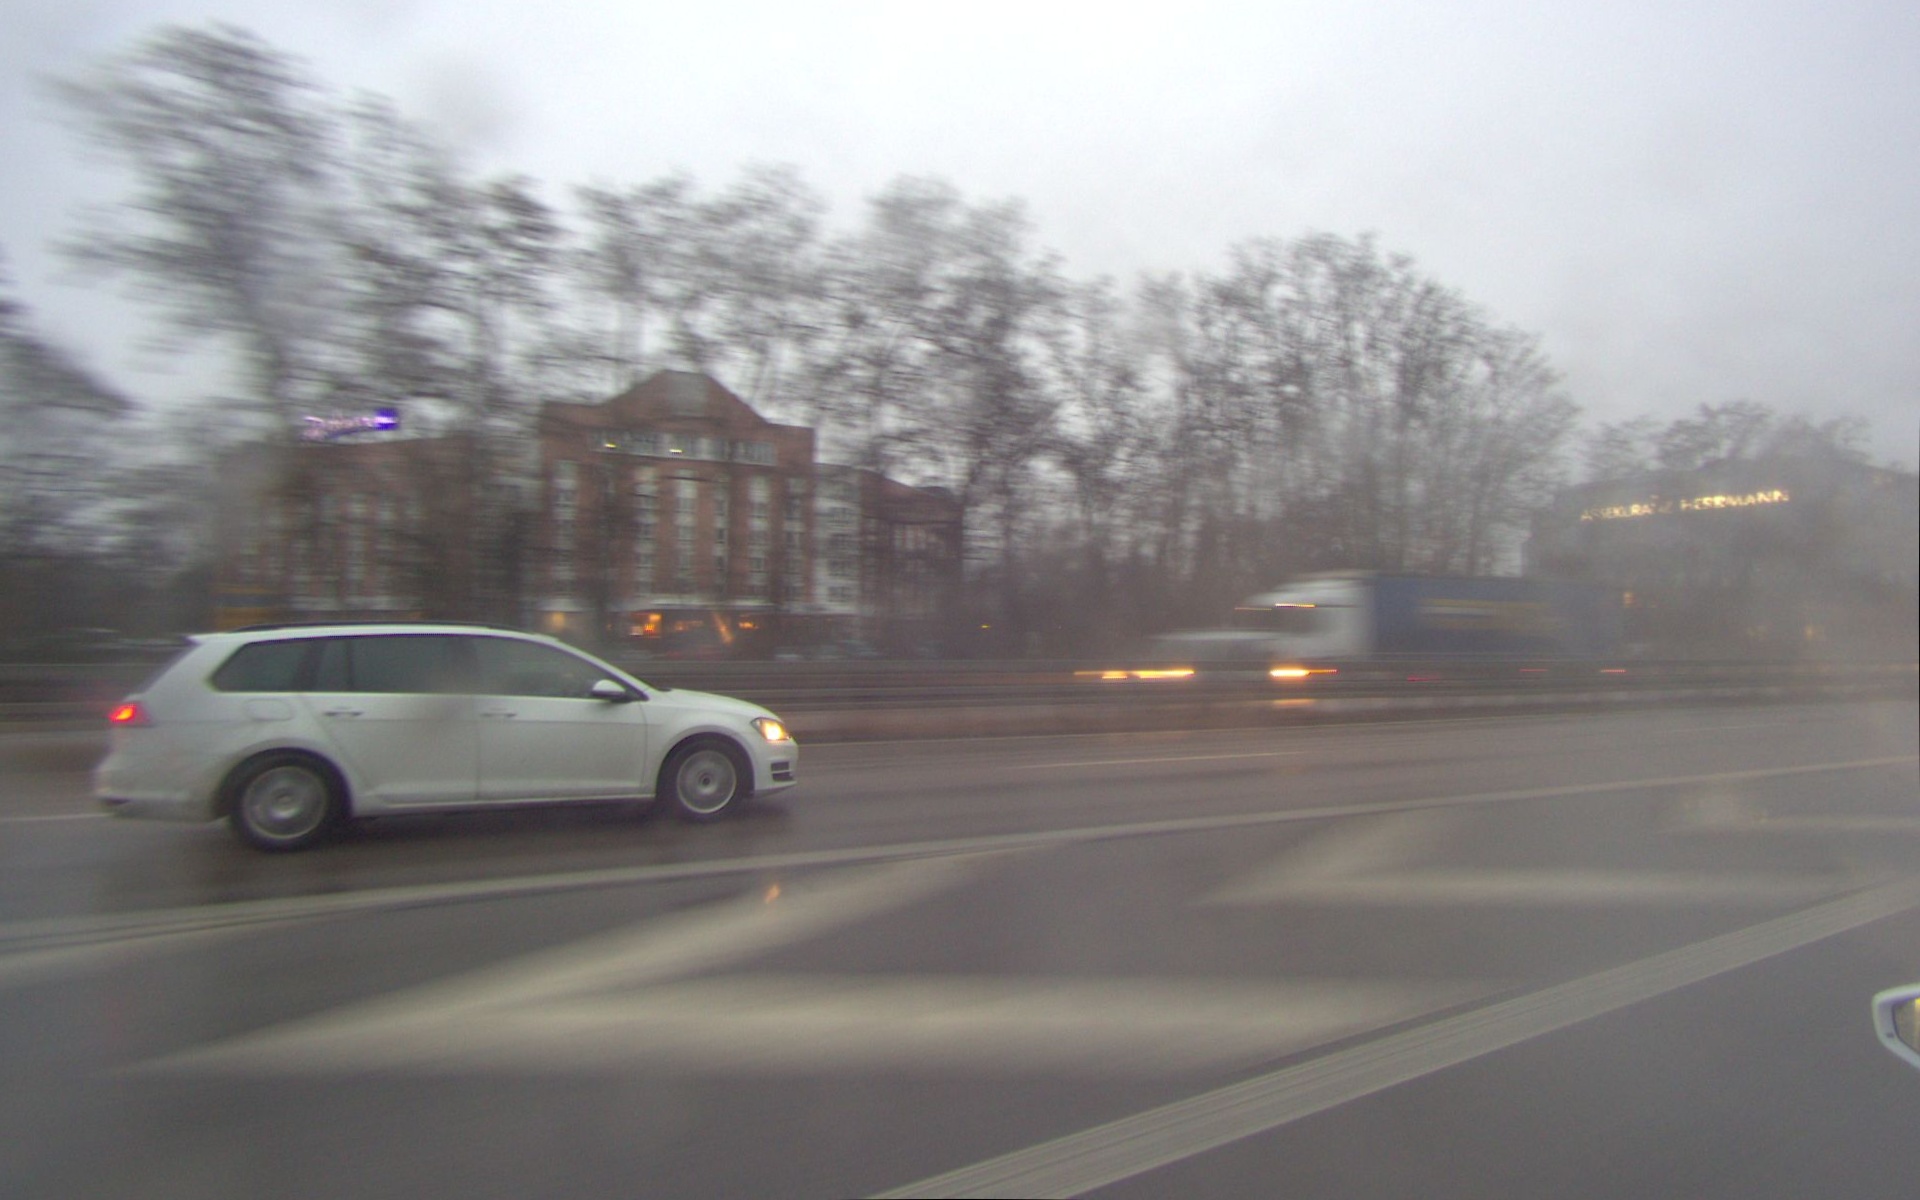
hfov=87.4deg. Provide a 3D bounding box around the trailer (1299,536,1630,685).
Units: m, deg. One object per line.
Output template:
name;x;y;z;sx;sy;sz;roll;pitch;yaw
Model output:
trailer;18.980;0.519;37.388;13.295;4.912;3.480;2;-1;-25

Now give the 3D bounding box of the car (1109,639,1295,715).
car;5.596;1.720;23.155;3.986;1.585;1.696;1;-1;-25

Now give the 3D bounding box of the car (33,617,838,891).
car;-3.467;0.959;7.566;4.722;1.540;1.942;1;-3;-25

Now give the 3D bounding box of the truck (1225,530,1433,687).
truck;12.598;0.343;34.418;5.948;4.912;3.480;1;0;-25
